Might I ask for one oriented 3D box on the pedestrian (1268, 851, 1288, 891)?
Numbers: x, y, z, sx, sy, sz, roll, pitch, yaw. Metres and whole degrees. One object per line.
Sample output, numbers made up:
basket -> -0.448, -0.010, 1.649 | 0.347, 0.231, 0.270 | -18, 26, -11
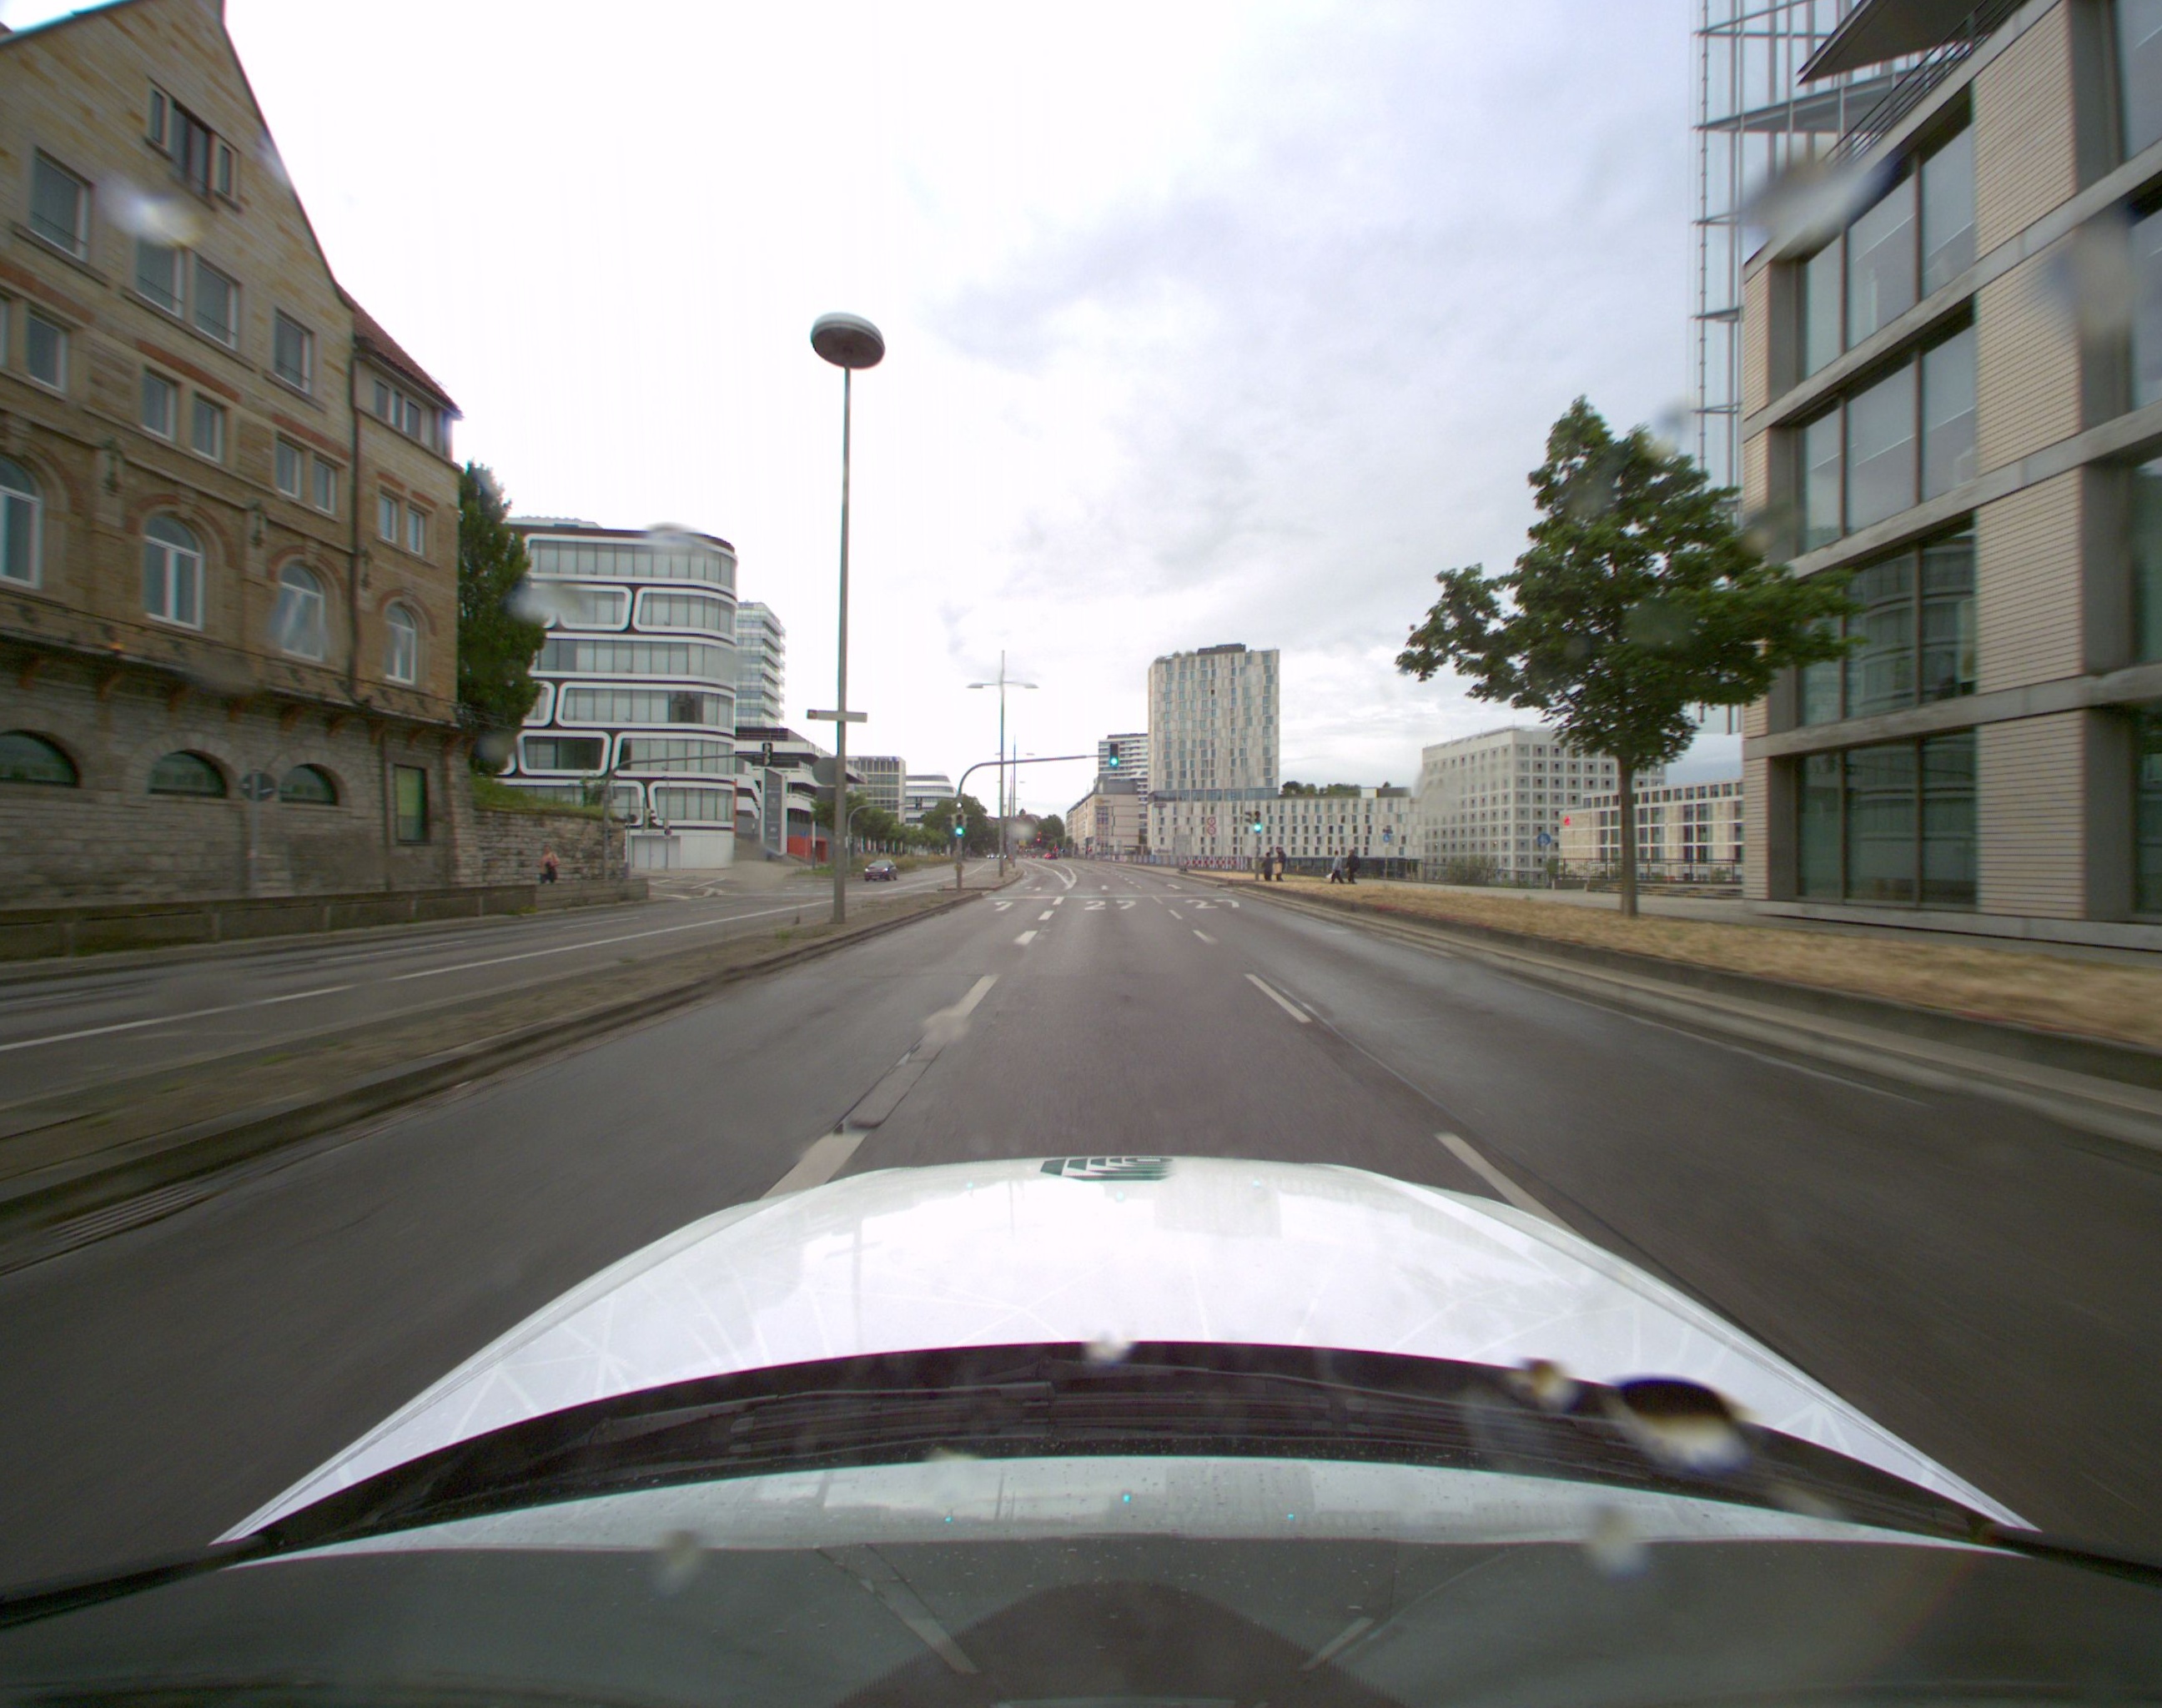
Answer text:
pedestrian -> 7.834, 0.664, 32.344 | 0.544, 1.578, 0.675 | 0, 1, 35

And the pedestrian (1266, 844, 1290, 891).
pedestrian -> 7.826, 0.521, 32.356 | 0.787, 1.841, 0.544 | -2, 1, -43

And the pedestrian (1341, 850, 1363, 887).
pedestrian -> 11.756, 0.621, 35.309 | 0.662, 1.578, 0.673 | 0, 1, 39

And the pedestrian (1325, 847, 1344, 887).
pedestrian -> 10.337, 0.526, 33.159 | 0.544, 1.578, 0.675 | 0, 1, 35

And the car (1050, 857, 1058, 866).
car -> -6.906, 1.931, 209.572 | 1.987, 2.343, 4.000 | 0, 0, 0

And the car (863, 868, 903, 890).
car -> -13.554, 1.708, 55.900 | 1.742, 1.407, 3.725 | -1, 0, 0

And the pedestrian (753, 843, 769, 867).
pedestrian -> -27.696, 0.107, 70.519 | 1.026, 2.013, 0.716 | -1, 1, 0

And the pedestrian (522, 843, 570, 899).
pedestrian -> -18.455, 0.559, 28.097 | 0.872, 1.867, 1.068 | 0, 1, 35
